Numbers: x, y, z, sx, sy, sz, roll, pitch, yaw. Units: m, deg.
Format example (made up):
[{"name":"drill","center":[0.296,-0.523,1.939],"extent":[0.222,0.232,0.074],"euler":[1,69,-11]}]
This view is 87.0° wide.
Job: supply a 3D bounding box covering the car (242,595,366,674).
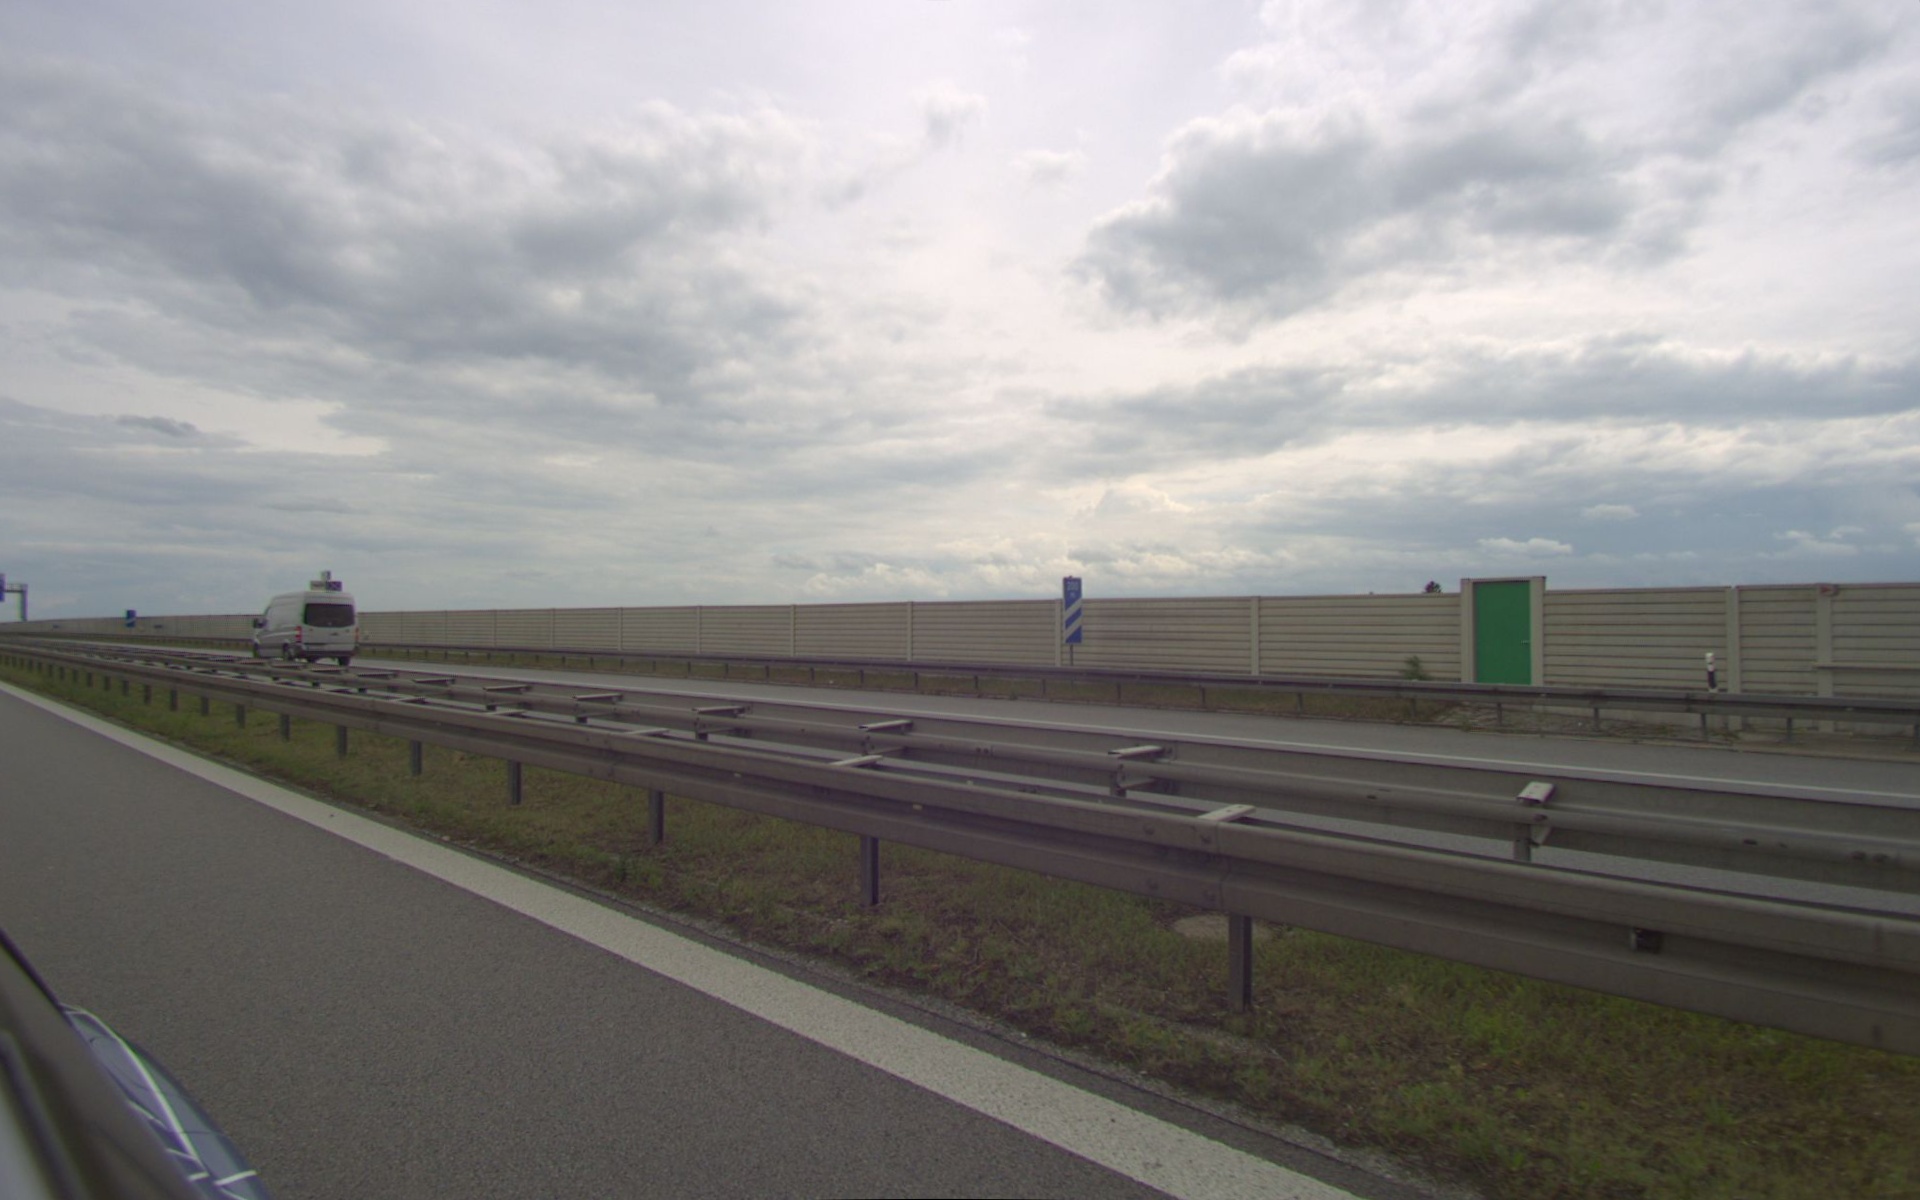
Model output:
[{"name":"car","center":[-23.820,1.235,36.647],"extent":[6.287,2.623,2.048],"euler":[-1,-4,42]}]
